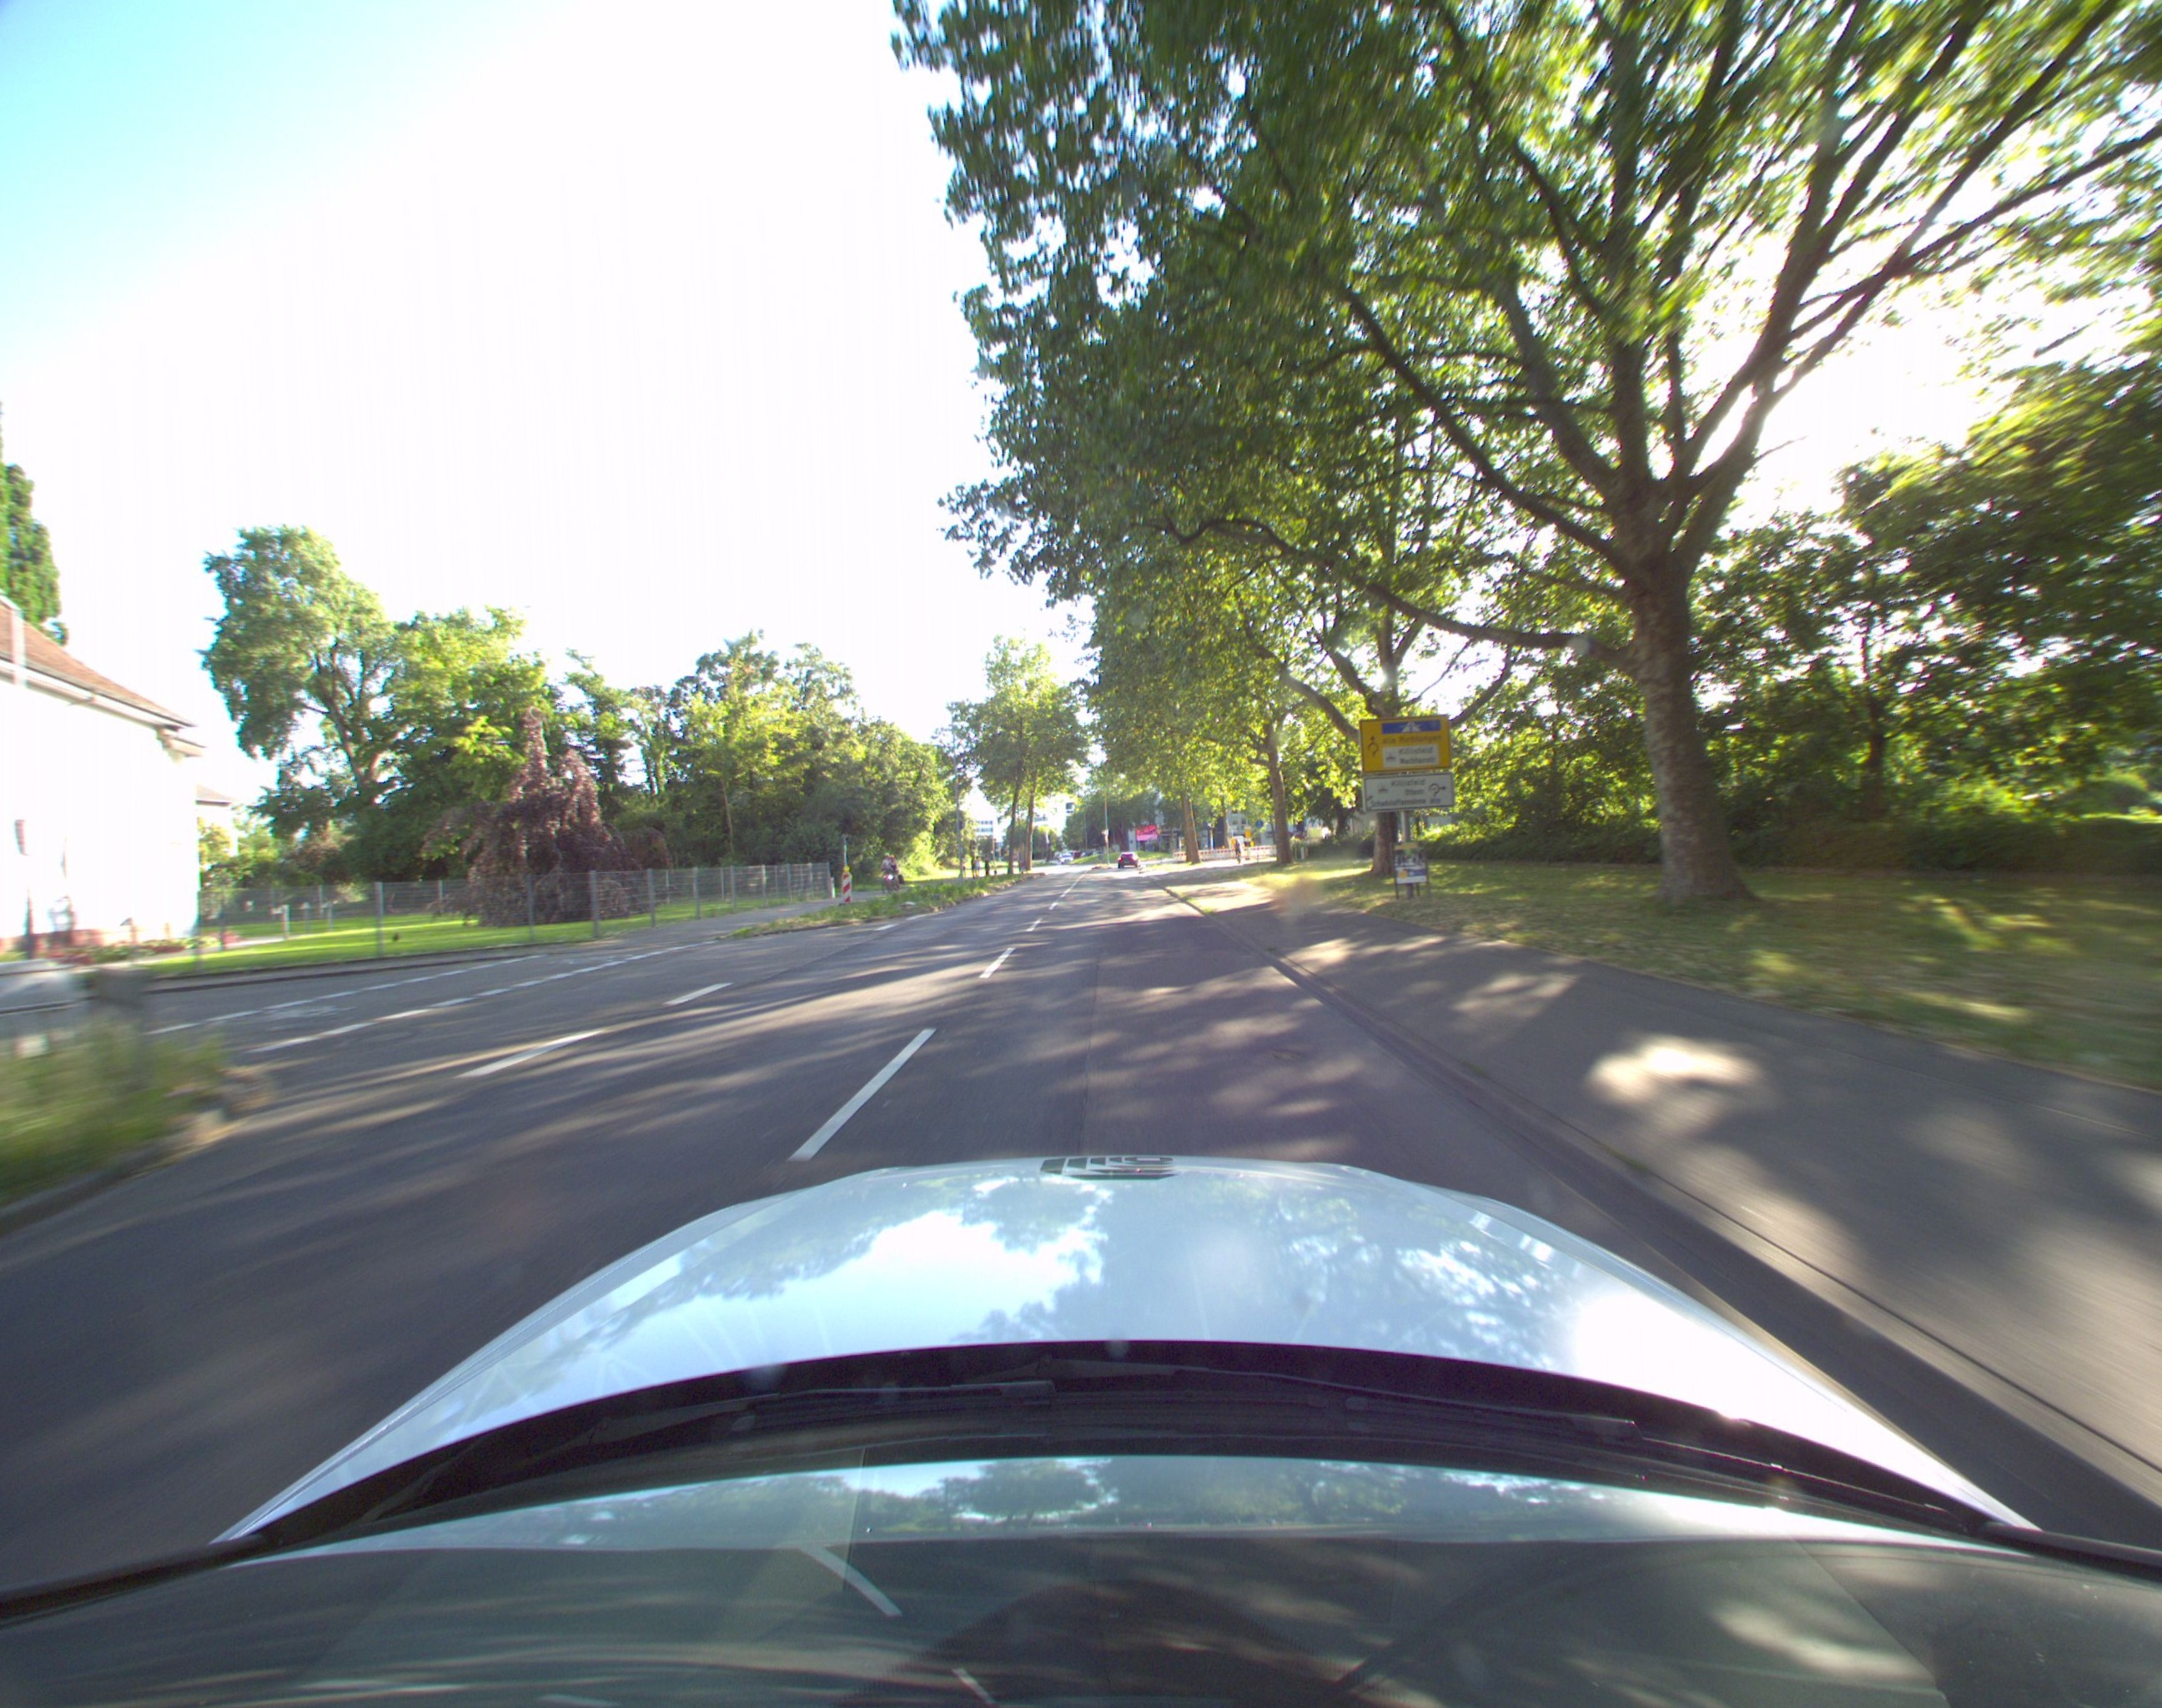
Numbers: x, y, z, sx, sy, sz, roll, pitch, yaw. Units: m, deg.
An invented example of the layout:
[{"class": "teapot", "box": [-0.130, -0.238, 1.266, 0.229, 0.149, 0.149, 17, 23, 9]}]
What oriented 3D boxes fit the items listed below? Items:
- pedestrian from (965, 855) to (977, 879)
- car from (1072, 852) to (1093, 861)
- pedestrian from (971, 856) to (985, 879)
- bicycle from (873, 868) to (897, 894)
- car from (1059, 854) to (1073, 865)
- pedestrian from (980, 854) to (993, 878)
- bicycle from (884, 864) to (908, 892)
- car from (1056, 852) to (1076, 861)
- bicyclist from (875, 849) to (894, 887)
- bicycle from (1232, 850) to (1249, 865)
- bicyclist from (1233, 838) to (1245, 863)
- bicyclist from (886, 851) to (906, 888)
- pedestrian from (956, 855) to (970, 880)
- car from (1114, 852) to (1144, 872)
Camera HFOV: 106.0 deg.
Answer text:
[{"class": "pedestrian", "box": [-8.009, 0.953, 59.410, 0.662, 1.739, 0.752, -3, 0, 3]}, {"class": "car", "box": [0.336, 0.513, 167.565, 4.010, 1.747, 1.779, -2, 0, -28]}, {"class": "pedestrian", "box": [-7.322, 0.956, 57.906, 0.569, 1.638, 0.638, -3, 0, 41]}, {"class": "bicycle", "box": [-9.738, 1.324, 40.533, 0.577, 1.186, 2.033, -5, 0, 1]}, {"class": "car", "box": [-2.159, 0.808, 119.260, 1.988, 1.578, 3.998, -3, 0, -1]}, {"class": "pedestrian", "box": [-6.897, 0.867, 59.389, 0.745, 1.739, 0.852, -3, 0, 3]}, {"class": "bicycle", "box": [-8.756, 1.124, 38.608, 0.577, 1.245, 2.108, -3, 0, 1]}, {"class": "car", "box": [-3.246, 0.581, 177.992, 4.010, 1.747, 1.779, -2, 0, -28]}, {"class": "bicyclist", "box": [-9.782, 0.689, 40.522, 0.577, 1.831, 0.968, -5, 0, 1]}, {"class": "bicycle", "box": [11.309, 0.271, 57.887, 0.767, 0.964, 2.175, -5, -1, 2]}, {"class": "bicyclist", "box": [11.286, -0.246, 58.255, 0.648, 1.705, 0.872, -2, 0, 2]}, {"class": "bicyclist", "box": [-8.777, 0.727, 38.636, 0.577, 1.679, 0.971, -3, 0, 1]}, {"class": "pedestrian", "box": [-8.404, 0.959, 58.073, 0.627, 1.739, 0.668, -3, 0, 22]}, {"class": "car", "box": [4.433, 0.699, 74.537, 1.825, 1.605, 3.879, -3, 0, 16]}]
